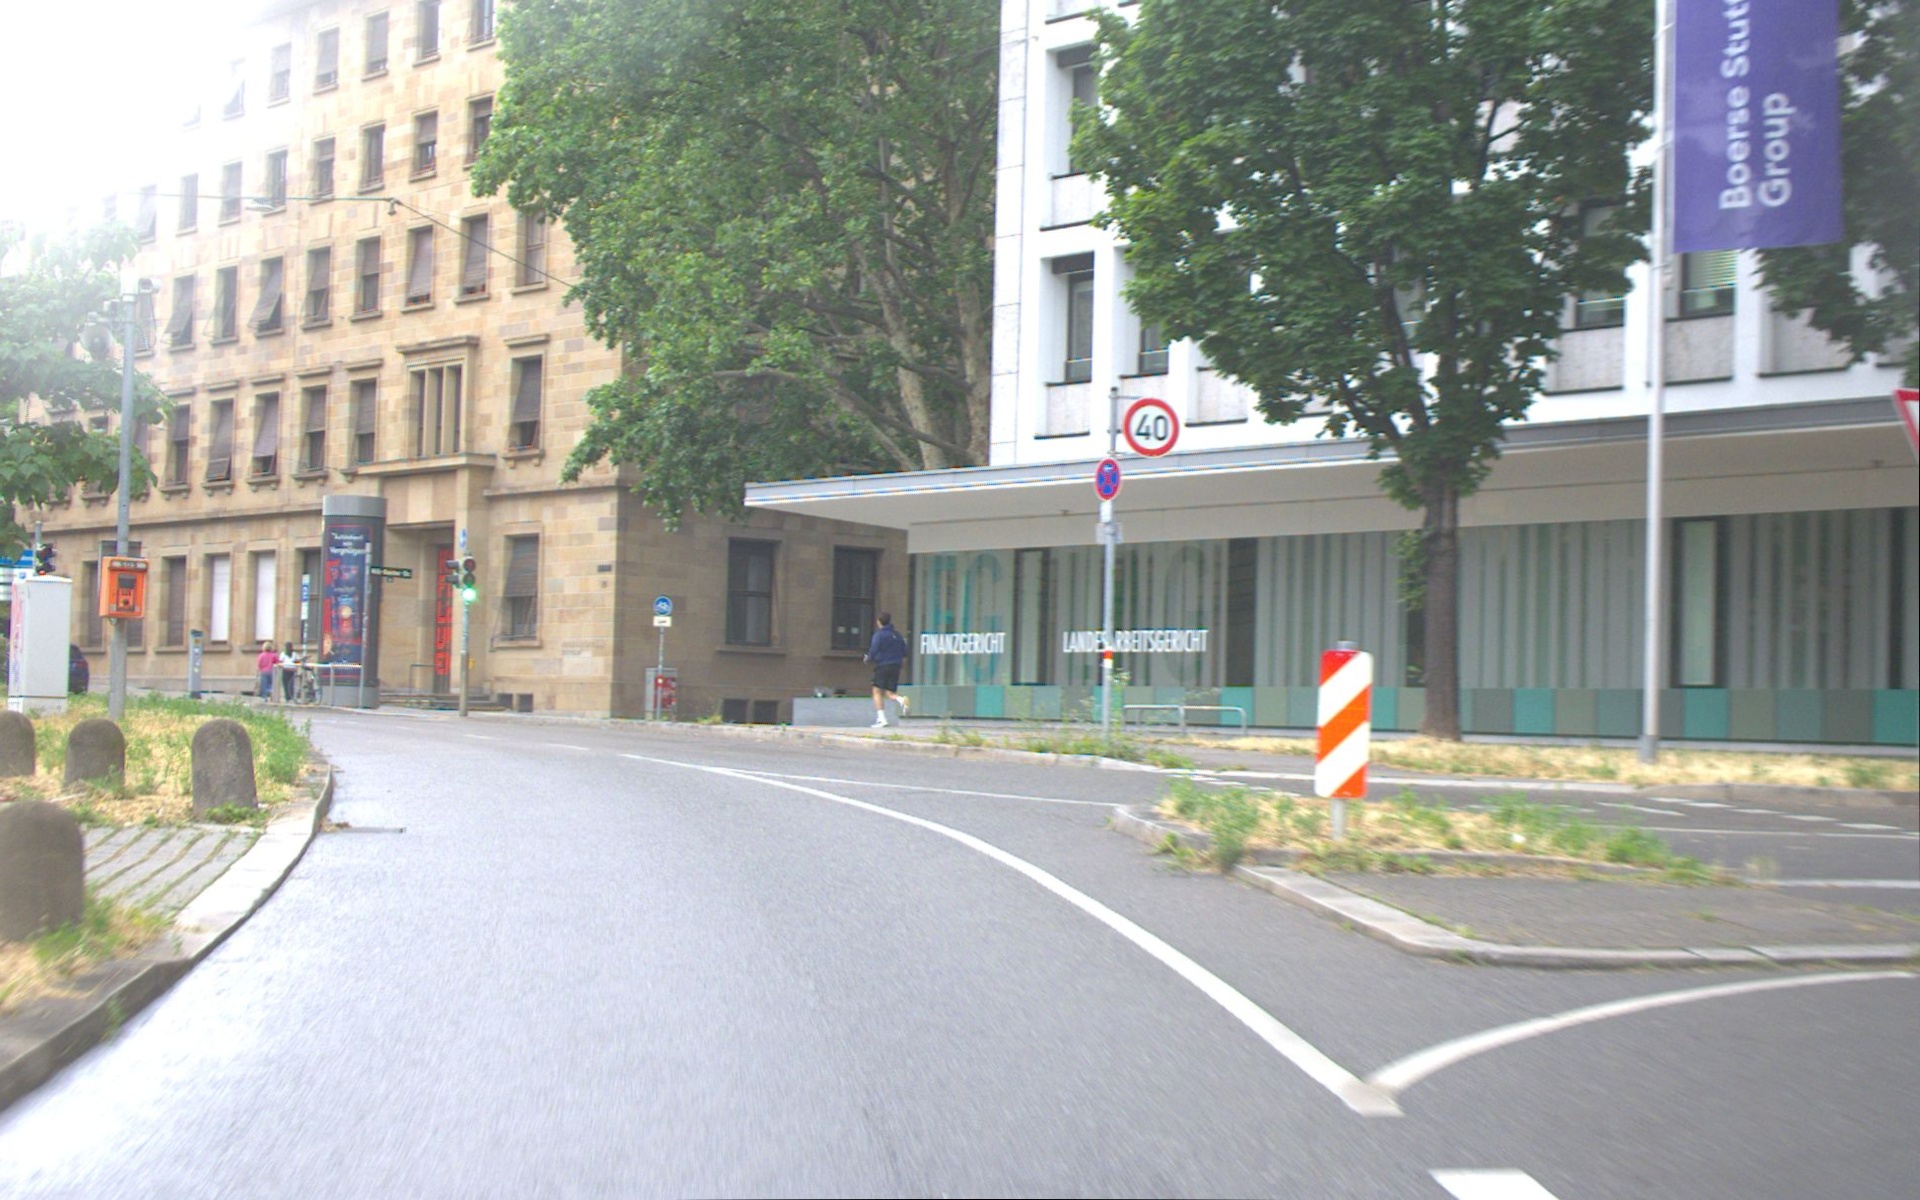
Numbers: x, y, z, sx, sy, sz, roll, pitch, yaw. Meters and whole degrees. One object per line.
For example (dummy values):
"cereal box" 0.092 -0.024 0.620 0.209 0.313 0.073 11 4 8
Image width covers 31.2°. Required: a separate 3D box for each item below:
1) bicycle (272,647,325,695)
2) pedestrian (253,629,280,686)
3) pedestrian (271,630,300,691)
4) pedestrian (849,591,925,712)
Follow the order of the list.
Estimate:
"bicycle" -14.517 1.547 75.423 0.489 1.009 1.928 3 -2 -30
"pedestrian" -18.372 1.524 91.050 0.524 1.487 0.674 3 -2 -20
"pedestrian" -17.965 1.606 91.569 0.524 1.597 0.674 3 -2 -29
"pedestrian" -1.096 0.772 51.461 0.779 1.766 0.863 3 -2 -27
